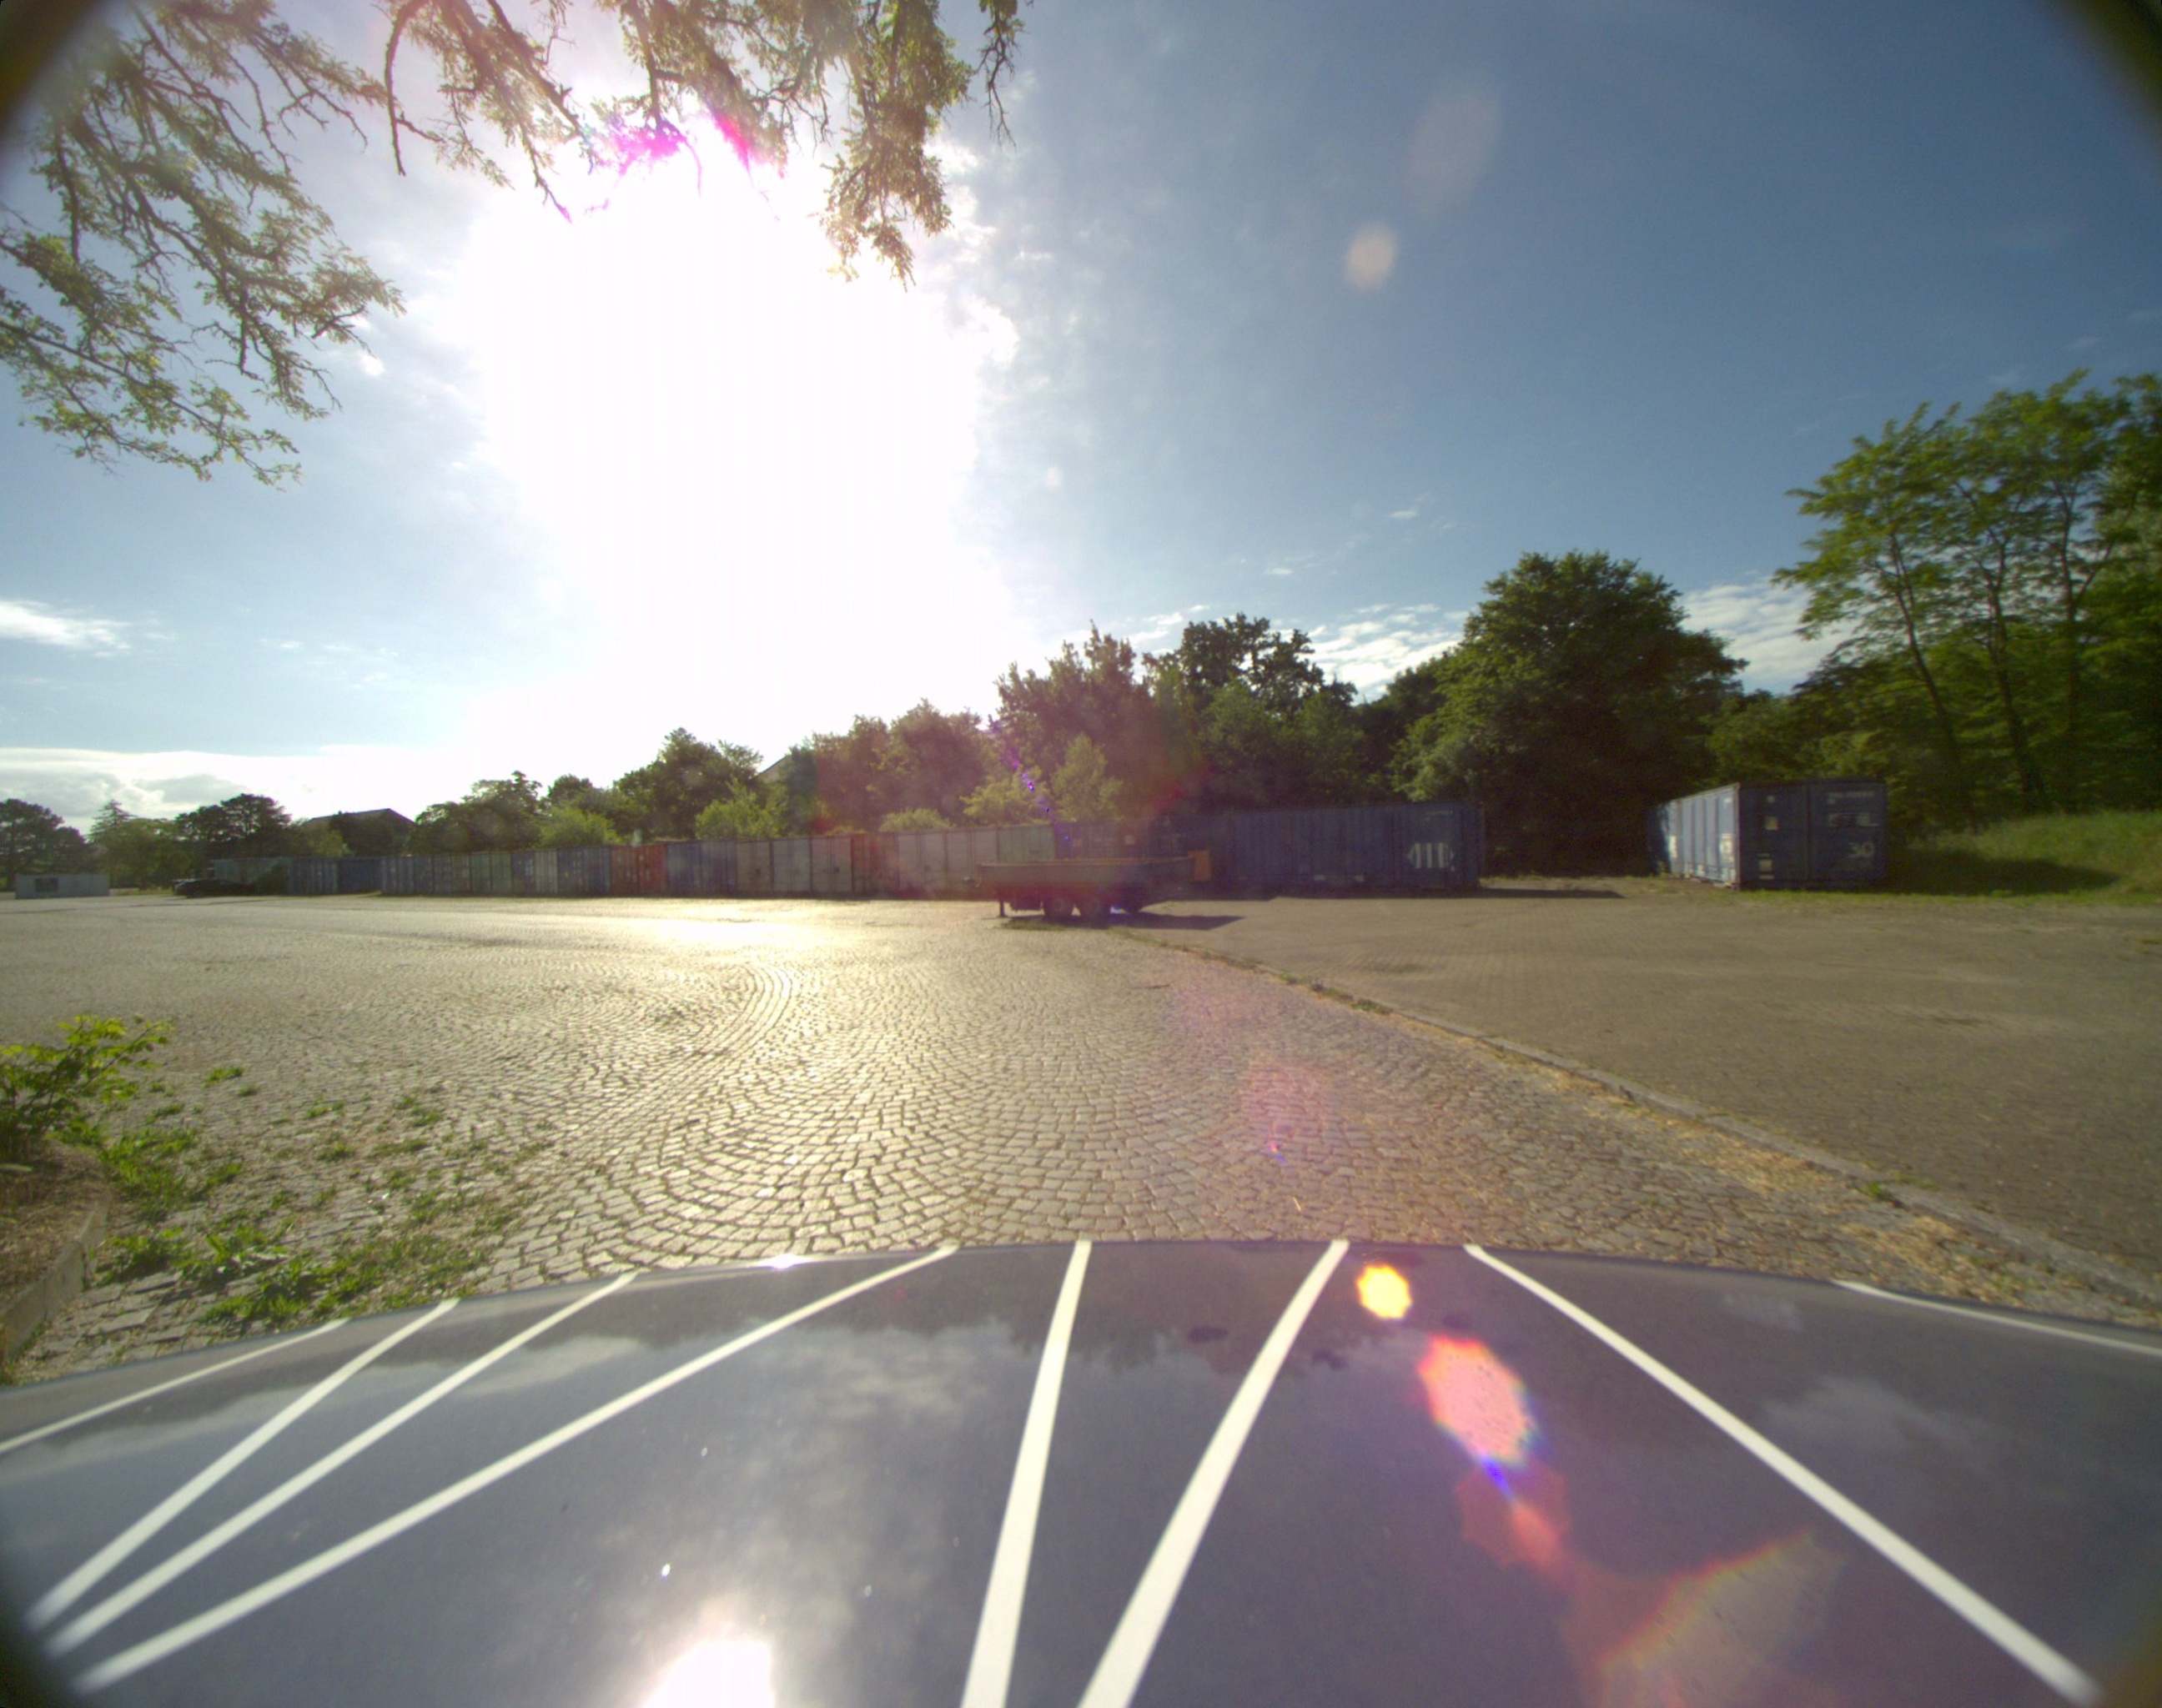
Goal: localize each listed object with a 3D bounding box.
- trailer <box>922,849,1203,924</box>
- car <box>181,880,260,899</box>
[{"bbox_3d":[-0.529,0.799,19.145,6.476,1.509,2.860,-2,1,30],"label":"trailer"},{"bbox_3d":[-68.354,2.786,60.426,1.586,1.259,3.883,-1,1,28],"label":"car"}]
